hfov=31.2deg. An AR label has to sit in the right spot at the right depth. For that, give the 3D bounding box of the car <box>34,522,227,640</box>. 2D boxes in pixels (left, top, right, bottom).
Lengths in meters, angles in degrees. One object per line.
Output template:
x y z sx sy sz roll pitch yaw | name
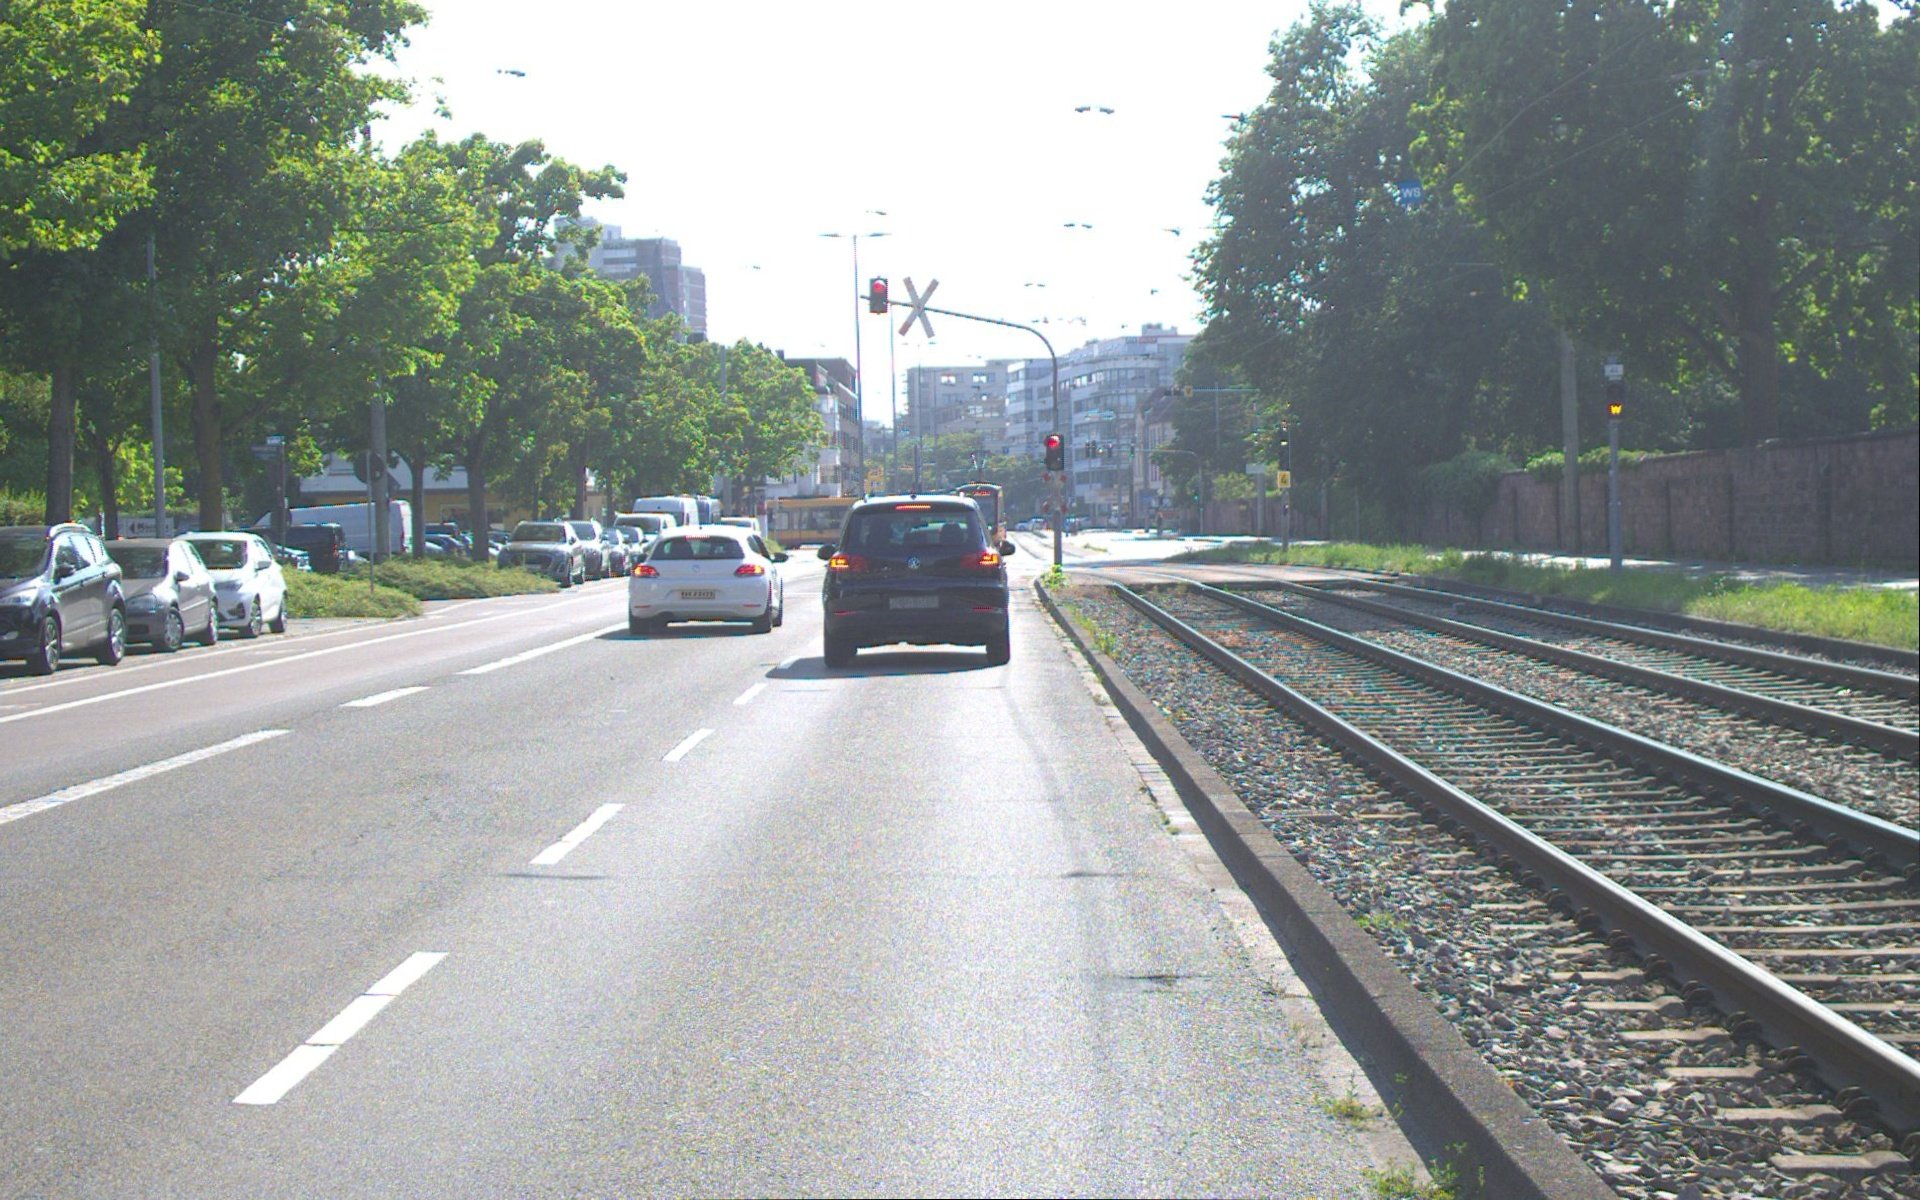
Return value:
-11.051 -0.289 46.026 1.677 1.463 3.969 -1 2 -1 | car

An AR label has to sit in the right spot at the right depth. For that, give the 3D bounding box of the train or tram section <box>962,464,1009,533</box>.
1.401 -5.459 185.567 2.326 3.557 8.900 -2 2 1 | train or tram section

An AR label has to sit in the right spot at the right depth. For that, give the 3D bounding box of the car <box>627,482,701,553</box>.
-10.200 -2.871 118.778 1.863 2.339 4.985 -2 2 2 | car

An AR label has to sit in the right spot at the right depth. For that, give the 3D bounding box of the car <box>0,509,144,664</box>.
-11.007 -0.196 40.321 1.712 1.688 4.422 -1 2 1 | car

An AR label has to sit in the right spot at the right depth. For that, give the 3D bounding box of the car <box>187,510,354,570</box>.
-20.873 -1.833 104.159 4.617 1.646 2.049 -2 2 -1 | car

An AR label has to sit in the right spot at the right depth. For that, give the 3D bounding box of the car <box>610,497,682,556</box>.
-10.209 -2.417 112.111 1.732 1.853 4.489 -2 2 2 | car

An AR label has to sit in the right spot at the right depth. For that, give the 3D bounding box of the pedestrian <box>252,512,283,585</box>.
-15.593 -1.157 77.440 0.524 1.622 0.610 -2 1 1 | pedestrian

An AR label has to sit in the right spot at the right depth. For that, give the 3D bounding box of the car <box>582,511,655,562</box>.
-10.584 -1.990 106.807 1.732 1.445 3.735 -2 2 2 | car

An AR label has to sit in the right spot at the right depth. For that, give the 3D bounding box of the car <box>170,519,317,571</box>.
-21.185 -1.637 101.781 3.986 1.392 1.738 -2 2 -2 | car

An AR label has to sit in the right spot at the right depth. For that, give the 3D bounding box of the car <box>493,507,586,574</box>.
-10.875 -1.560 89.100 1.732 1.652 4.000 -2 2 2 | car

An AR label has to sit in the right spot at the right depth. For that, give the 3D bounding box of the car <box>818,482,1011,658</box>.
-0.398 -0.328 34.449 1.811 1.639 4.000 0 1 1 | car

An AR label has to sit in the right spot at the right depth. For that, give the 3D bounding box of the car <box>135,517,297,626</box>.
-11.130 -0.465 51.636 1.600 1.545 3.895 0 2 0 | car

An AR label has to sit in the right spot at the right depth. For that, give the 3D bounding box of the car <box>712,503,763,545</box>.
-9.606 -3.302 148.633 1.732 1.688 4.000 -2 2 2 | car

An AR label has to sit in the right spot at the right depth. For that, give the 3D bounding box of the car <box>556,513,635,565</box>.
-10.686 -1.804 100.926 1.732 1.384 3.735 -2 2 2 | car

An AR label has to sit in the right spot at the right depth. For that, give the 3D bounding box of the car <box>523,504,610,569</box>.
-10.804 -1.765 94.617 1.732 1.688 4.000 -2 2 2 | car

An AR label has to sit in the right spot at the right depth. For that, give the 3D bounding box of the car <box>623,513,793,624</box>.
-3.252 -0.443 45.051 1.865 1.343 4.000 -1 2 1 | car

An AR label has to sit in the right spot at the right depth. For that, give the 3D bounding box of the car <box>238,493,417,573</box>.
-20.613 -2.194 112.166 5.375 2.415 2.088 -2 2 1 | car

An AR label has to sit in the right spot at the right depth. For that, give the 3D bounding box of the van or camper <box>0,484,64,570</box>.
-34.101 -2.447 117.140 6.464 2.858 2.307 -1 1 2 | van or camper
